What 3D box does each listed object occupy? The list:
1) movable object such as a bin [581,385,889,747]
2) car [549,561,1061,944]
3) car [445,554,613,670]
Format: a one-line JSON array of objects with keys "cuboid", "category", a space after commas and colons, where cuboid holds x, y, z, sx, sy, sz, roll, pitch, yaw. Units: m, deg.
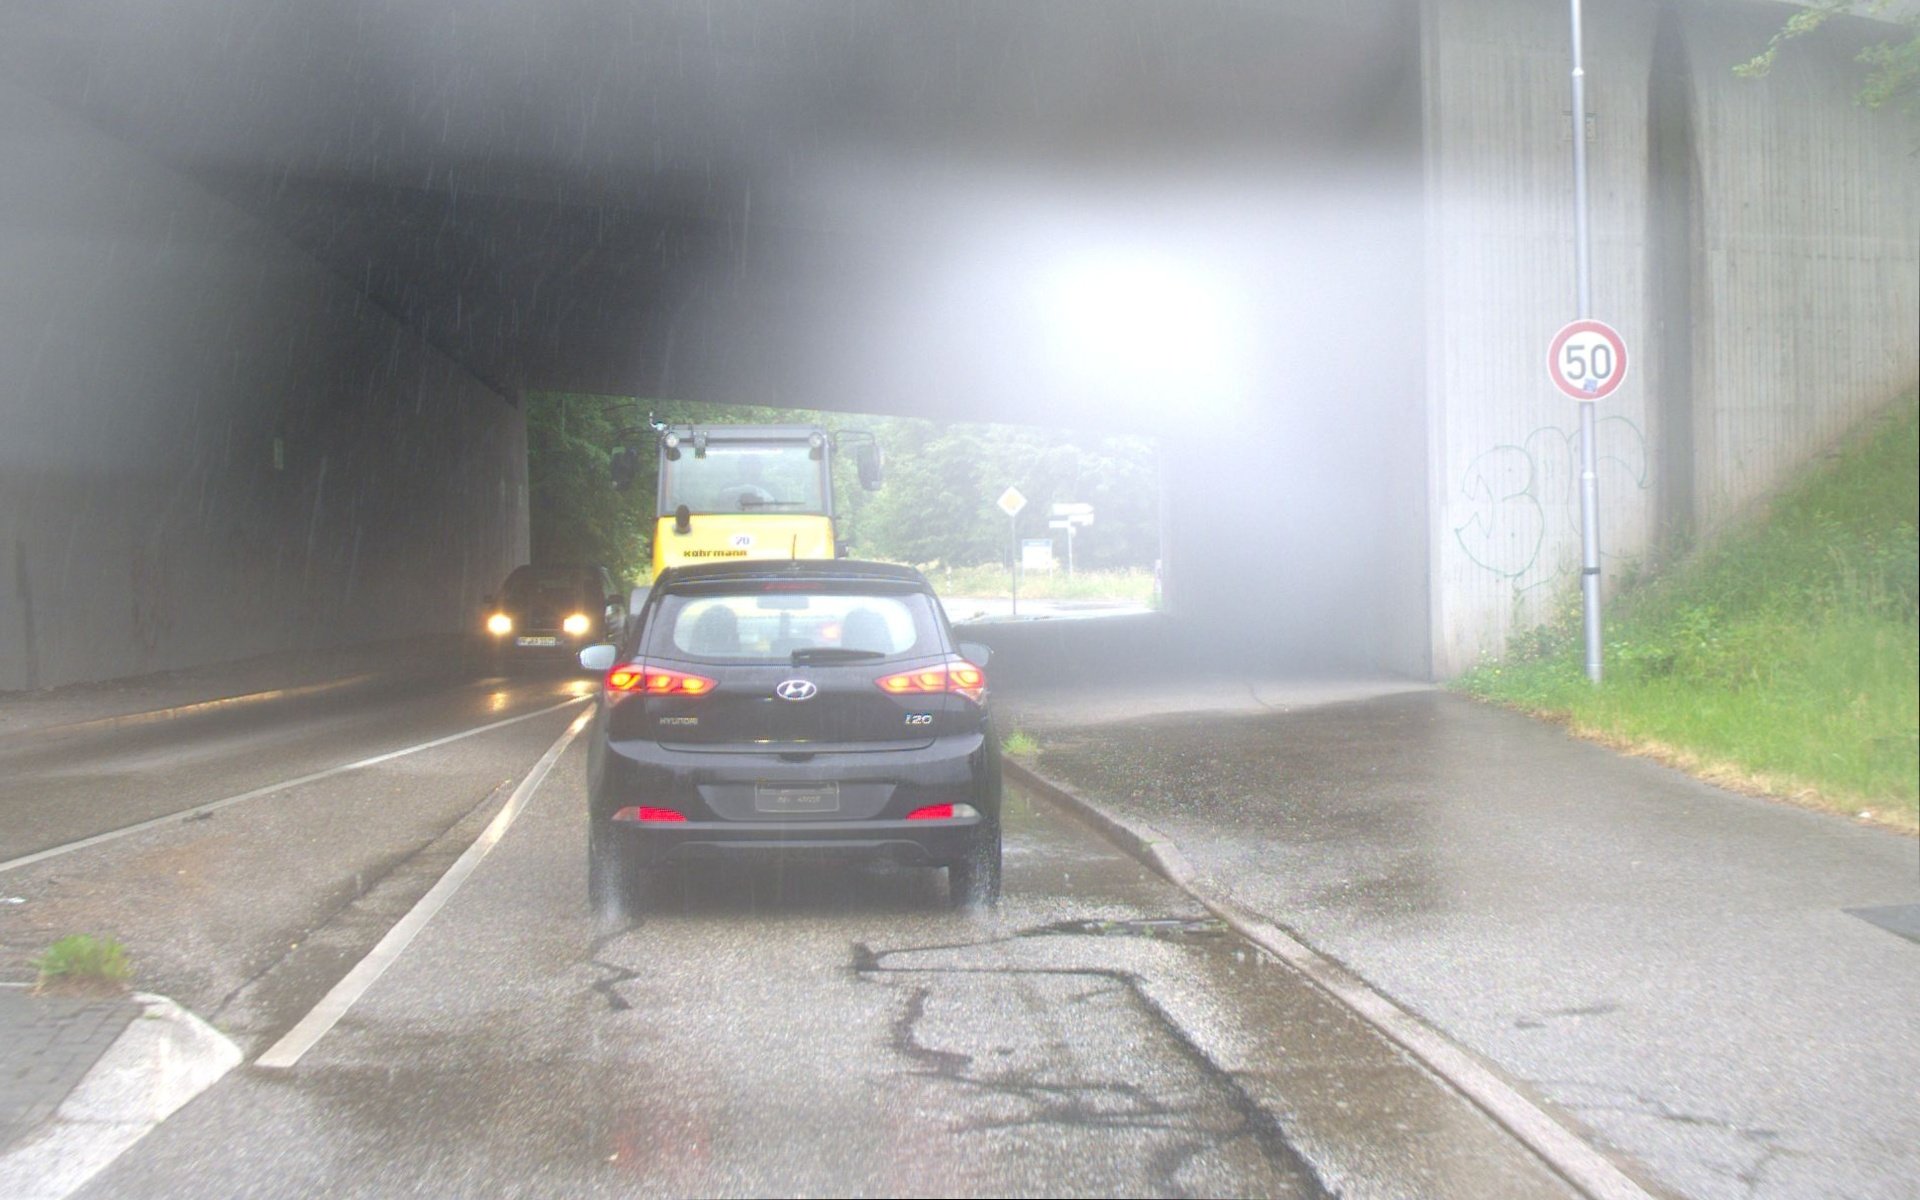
[{"cuboid": [-1.820, -0.287, 28.913, 2.245, 2.660, 6.627, 1, 1, -3], "category": "movable object such as a bin"}, {"cuboid": [-0.698, 0.581, 15.542, 1.993, 1.482, 4.000, 1, 1, -3], "category": "car"}, {"cuboid": [-5.738, 0.130, 46.163, 1.690, 1.482, 4.073, 0, 1, 1], "category": "car"}]
